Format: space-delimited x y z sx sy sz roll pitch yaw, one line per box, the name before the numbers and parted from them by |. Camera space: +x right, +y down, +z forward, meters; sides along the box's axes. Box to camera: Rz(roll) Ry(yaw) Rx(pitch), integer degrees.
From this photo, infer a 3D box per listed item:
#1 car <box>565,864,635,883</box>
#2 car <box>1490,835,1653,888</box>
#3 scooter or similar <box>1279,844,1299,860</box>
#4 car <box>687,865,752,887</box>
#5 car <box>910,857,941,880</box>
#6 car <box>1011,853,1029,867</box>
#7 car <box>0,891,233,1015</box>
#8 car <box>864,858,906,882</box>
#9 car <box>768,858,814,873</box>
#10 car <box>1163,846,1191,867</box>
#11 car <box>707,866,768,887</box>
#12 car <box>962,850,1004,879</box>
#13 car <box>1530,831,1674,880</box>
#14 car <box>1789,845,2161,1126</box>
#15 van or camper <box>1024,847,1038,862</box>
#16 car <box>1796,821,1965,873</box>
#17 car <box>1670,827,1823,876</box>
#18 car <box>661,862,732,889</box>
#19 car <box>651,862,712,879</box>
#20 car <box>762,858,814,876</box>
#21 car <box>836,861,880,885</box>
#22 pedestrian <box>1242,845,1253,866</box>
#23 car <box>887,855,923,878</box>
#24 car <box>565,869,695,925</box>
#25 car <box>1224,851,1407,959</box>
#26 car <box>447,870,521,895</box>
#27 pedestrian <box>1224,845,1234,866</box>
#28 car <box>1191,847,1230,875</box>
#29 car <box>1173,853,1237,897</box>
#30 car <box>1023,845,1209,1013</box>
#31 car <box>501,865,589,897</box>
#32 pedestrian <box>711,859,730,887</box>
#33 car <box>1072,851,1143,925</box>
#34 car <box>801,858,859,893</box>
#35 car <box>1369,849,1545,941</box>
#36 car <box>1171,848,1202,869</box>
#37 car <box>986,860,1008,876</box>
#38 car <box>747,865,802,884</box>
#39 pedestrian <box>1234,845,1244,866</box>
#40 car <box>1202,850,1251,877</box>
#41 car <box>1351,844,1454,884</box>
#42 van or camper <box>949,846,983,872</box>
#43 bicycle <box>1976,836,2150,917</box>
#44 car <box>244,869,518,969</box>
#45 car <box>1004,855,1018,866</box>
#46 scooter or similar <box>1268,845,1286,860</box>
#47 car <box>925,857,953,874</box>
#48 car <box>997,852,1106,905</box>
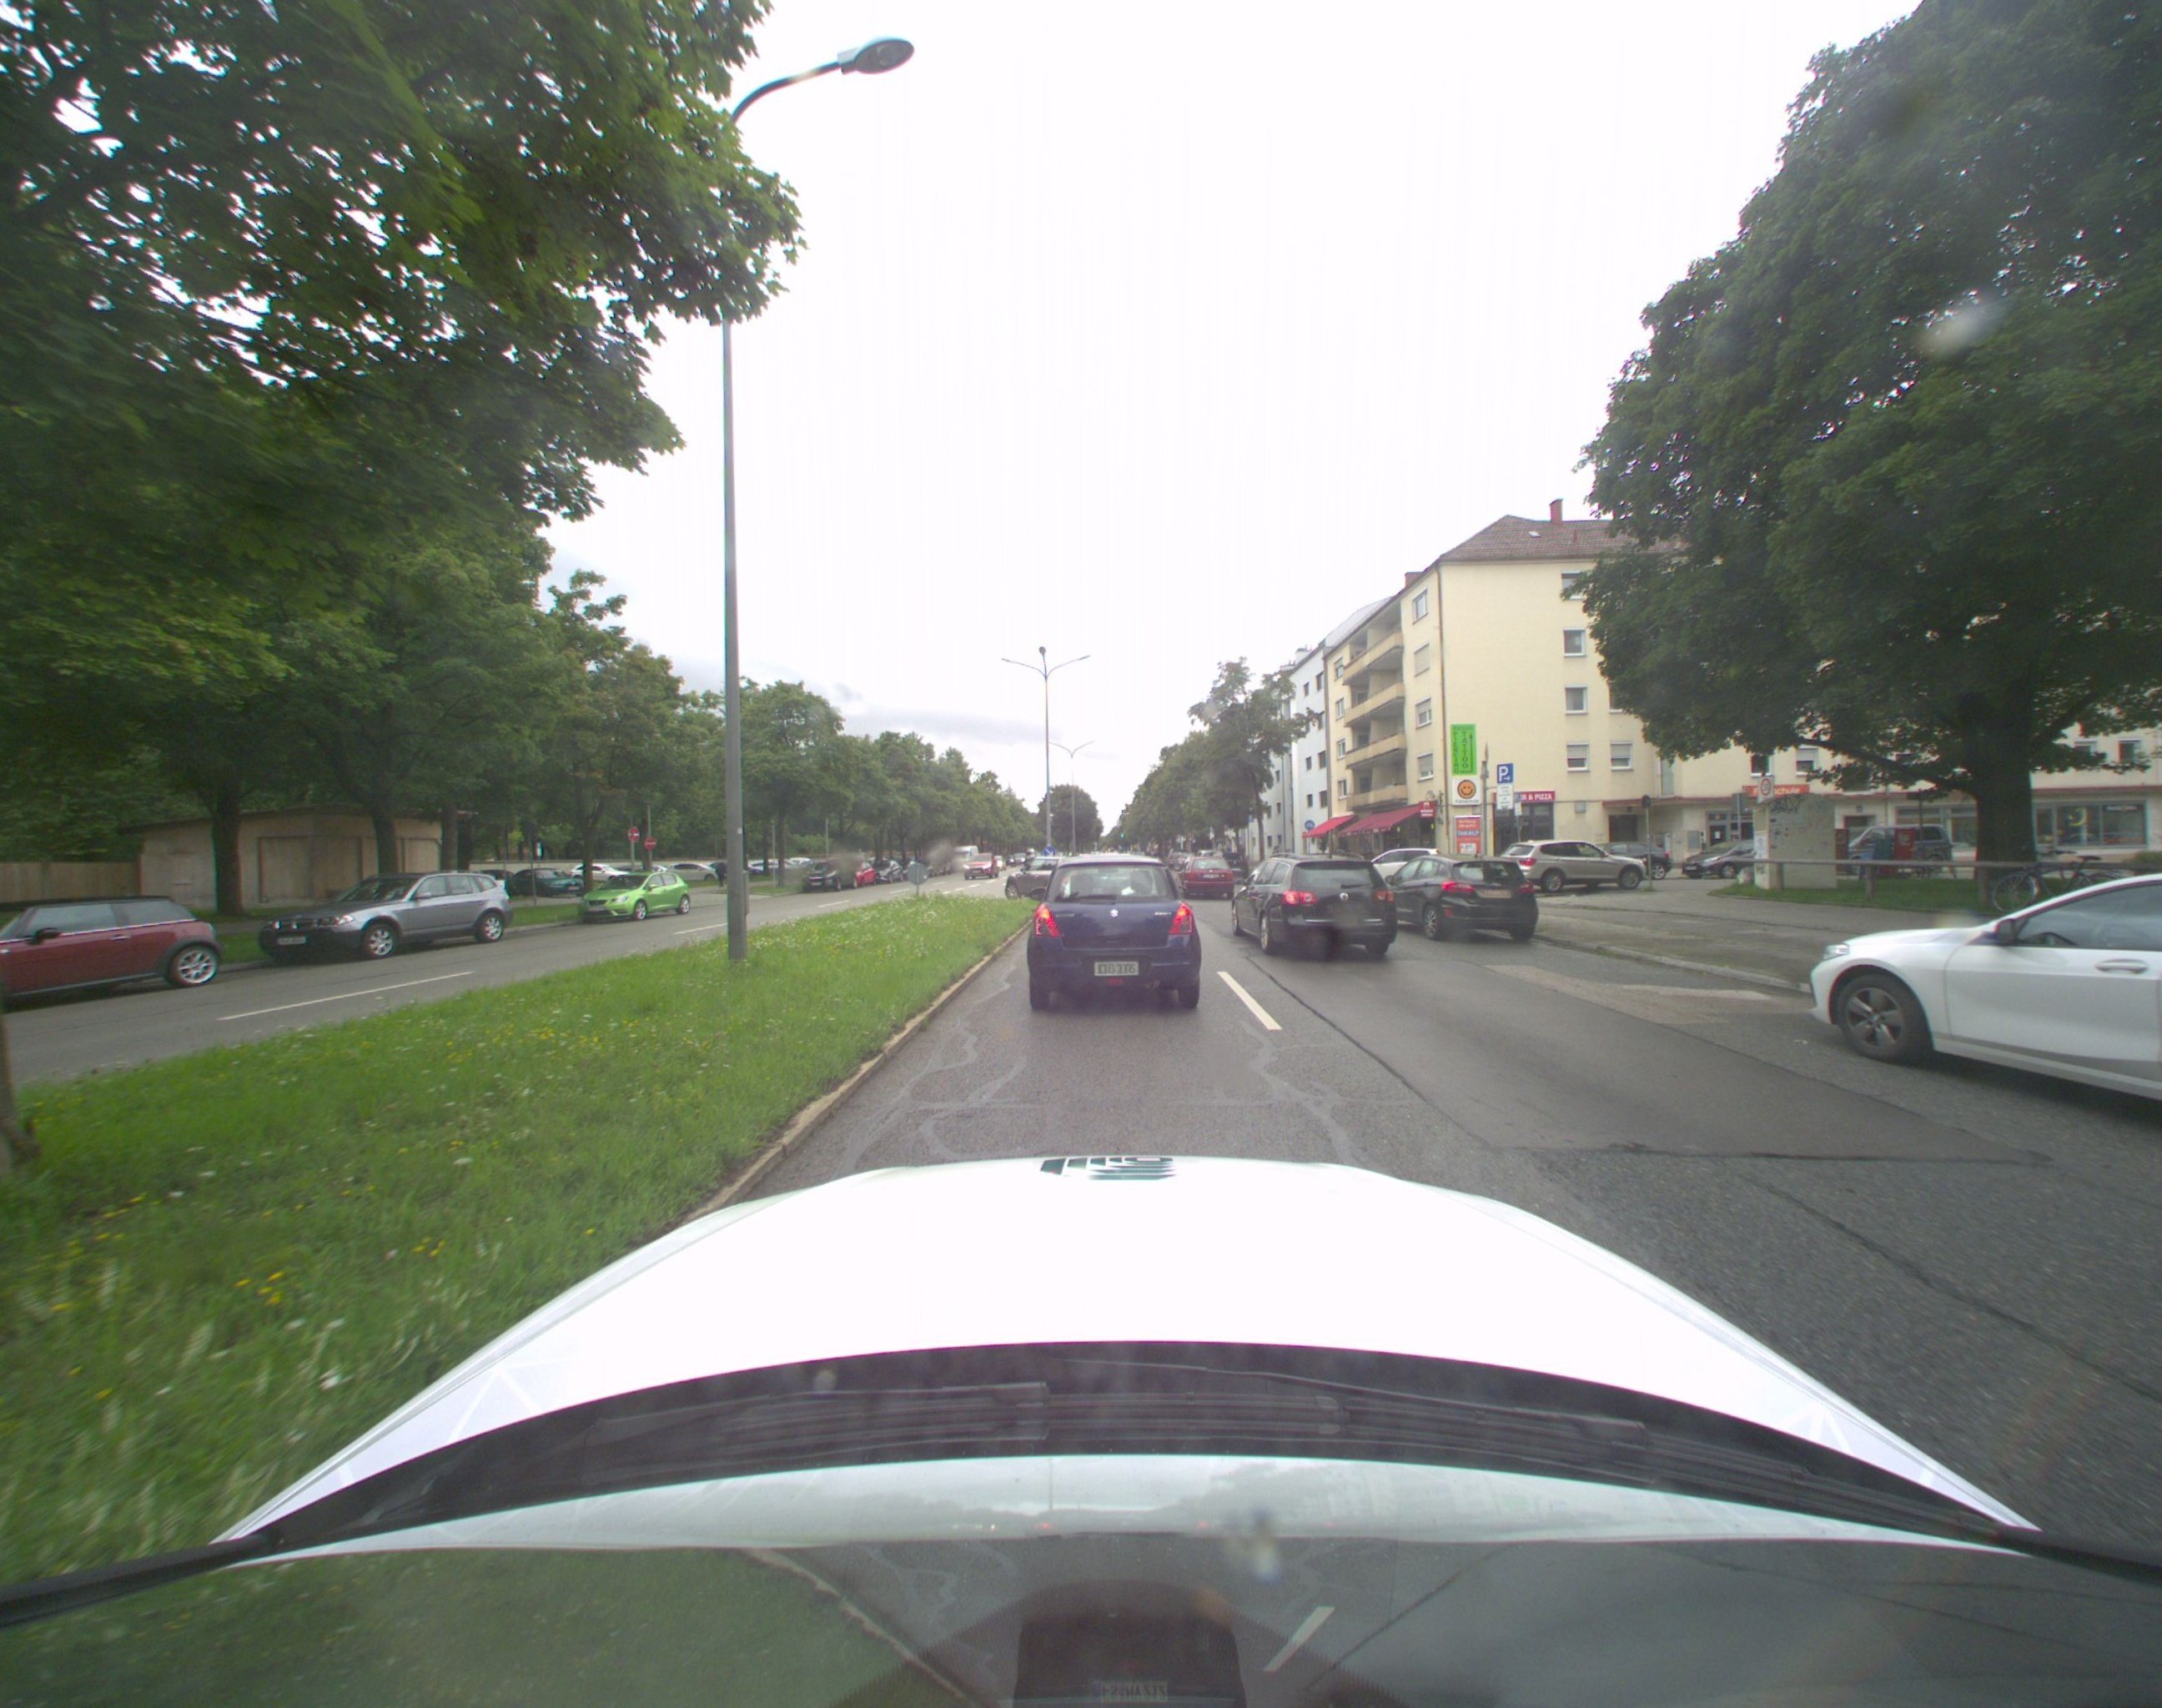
car | -37.543 1.521 63.590 4.488 1.476 1.673 -1 -1 2
car | 16.022 0.236 26.707 4.389 1.661 1.867 0 0 -7
scooter or similar | 17.246 -0.149 67.583 1.028 1.307 2.757 -2 0 3
car | -25.505 1.543 57.546 3.858 1.445 1.670 -1 0 -4
car | -12.226 1.116 64.255 1.626 1.741 3.880 -1 0 1
car | -7.580 0.745 101.357 1.760 1.623 4.508 -3 0 1
car | -14.096 1.321 10.858 1.584 1.397 3.634 -3 0 3
car | -12.599 1.006 52.530 1.661 1.445 3.880 -1 0 1
car | -28.208 1.108 79.279 3.858 1.445 1.670 -1 0 -4
car | 8.018 0.196 68.223 1.859 1.682 4.224 -2 0 0
car | -26.012 1.691 61.748 3.858 1.445 1.670 -1 0 -4
car | -6.288 0.657 52.760 1.896 1.696 4.248 -4 0 2
car | 20.001 0.041 31.350 4.383 1.661 1.870 -2 0 -3
car | 6.489 0.700 4.467 1.676 1.465 4.138 1 0 1
van or camper | -11.092 0.075 180.573 2.552 3.296 6.939 -1 0 1
car | 31.007 -0.279 31.679 4.719 1.773 1.871 -2 0 0
car | 25.528 -0.107 31.345 4.380 1.661 1.871 -2 0 -2
car | -25.761 1.404 54.665 3.910 1.718 1.670 -1 0 -4
car | -36.399 1.519 74.236 4.673 1.445 1.673 -1 0 2
car | -25.276 1.096 70.333 3.858 1.445 1.670 -1 0 -4
car | -13.017 1.081 47.730 1.585 1.312 3.381 -1 0 1
pedestrian | 16.148 0.107 78.938 0.791 2.013 1.007 -1 0 2
car | -12.481 0.881 57.880 1.585 1.558 3.880 -1 0 1
car | -13.674 1.255 24.979 1.540 1.409 3.884 -3 0 4
car | 3.511 0.669 13.052 1.725 1.432 4.443 0 0 1
car | -30.848 1.430 42.048 4.363 1.201 1.683 -1 -1 33
pedestrian | 14.345 0.139 78.921 0.791 2.013 1.007 -1 0 2
car | 7.939 0.393 50.188 1.785 1.558 4.225 -2 0 1
car | 4.109 0.661 27.463 1.676 1.383 3.920 0 0 1
car | 0.348 0.675 9.397 1.676 1.502 3.919 -1 0 1
car | -25.972 1.286 39.412 4.363 1.445 1.973 -1 -1 33
pedestrian | -20.331 1.063 45.948 0.724 1.534 0.721 -1 0 2
car | 0.564 0.686 18.283 1.439 1.483 3.107 -1 0 1
car | -13.004 1.073 42.426 1.710 1.741 3.880 -1 0 1
car | 6.685 0.663 14.905 1.611 1.465 3.675 0 0 2
car | 8.147 0.314 63.457 1.859 1.517 4.224 -2 0 0
car | -8.029 1.298 78.017 1.612 1.375 3.839 -3 0 1
car | -25.210 1.659 67.042 3.858 1.445 1.670 -1 0 -4
pedestrian | 15.309 0.115 78.929 0.791 2.013 1.007 -1 0 2
car | 8.067 0.493 45.408 1.860 1.417 4.222 -2 0 -1
car | 12.395 0.399 31.378 3.515 1.417 1.883 -2 0 26
van or camper | -11.766 0.490 83.777 2.108 2.482 7.454 -1 0 3
bicycle | 14.356 0.305 11.986 0.387 1.105 1.855 -1 0 3
car | -13.945 1.186 16.647 1.685 1.586 4.372 -3 0 1
car | -10.543 0.978 122.307 1.626 1.583 3.880 -1 0 1
scooter or similar | 17.206 -0.145 71.508 1.028 1.307 2.757 -2 0 3
car | -12.072 0.979 69.592 1.626 1.431 3.880 -1 0 1
car | -0.993 0.697 25.089 1.694 1.463 3.695 -1 0 -33
